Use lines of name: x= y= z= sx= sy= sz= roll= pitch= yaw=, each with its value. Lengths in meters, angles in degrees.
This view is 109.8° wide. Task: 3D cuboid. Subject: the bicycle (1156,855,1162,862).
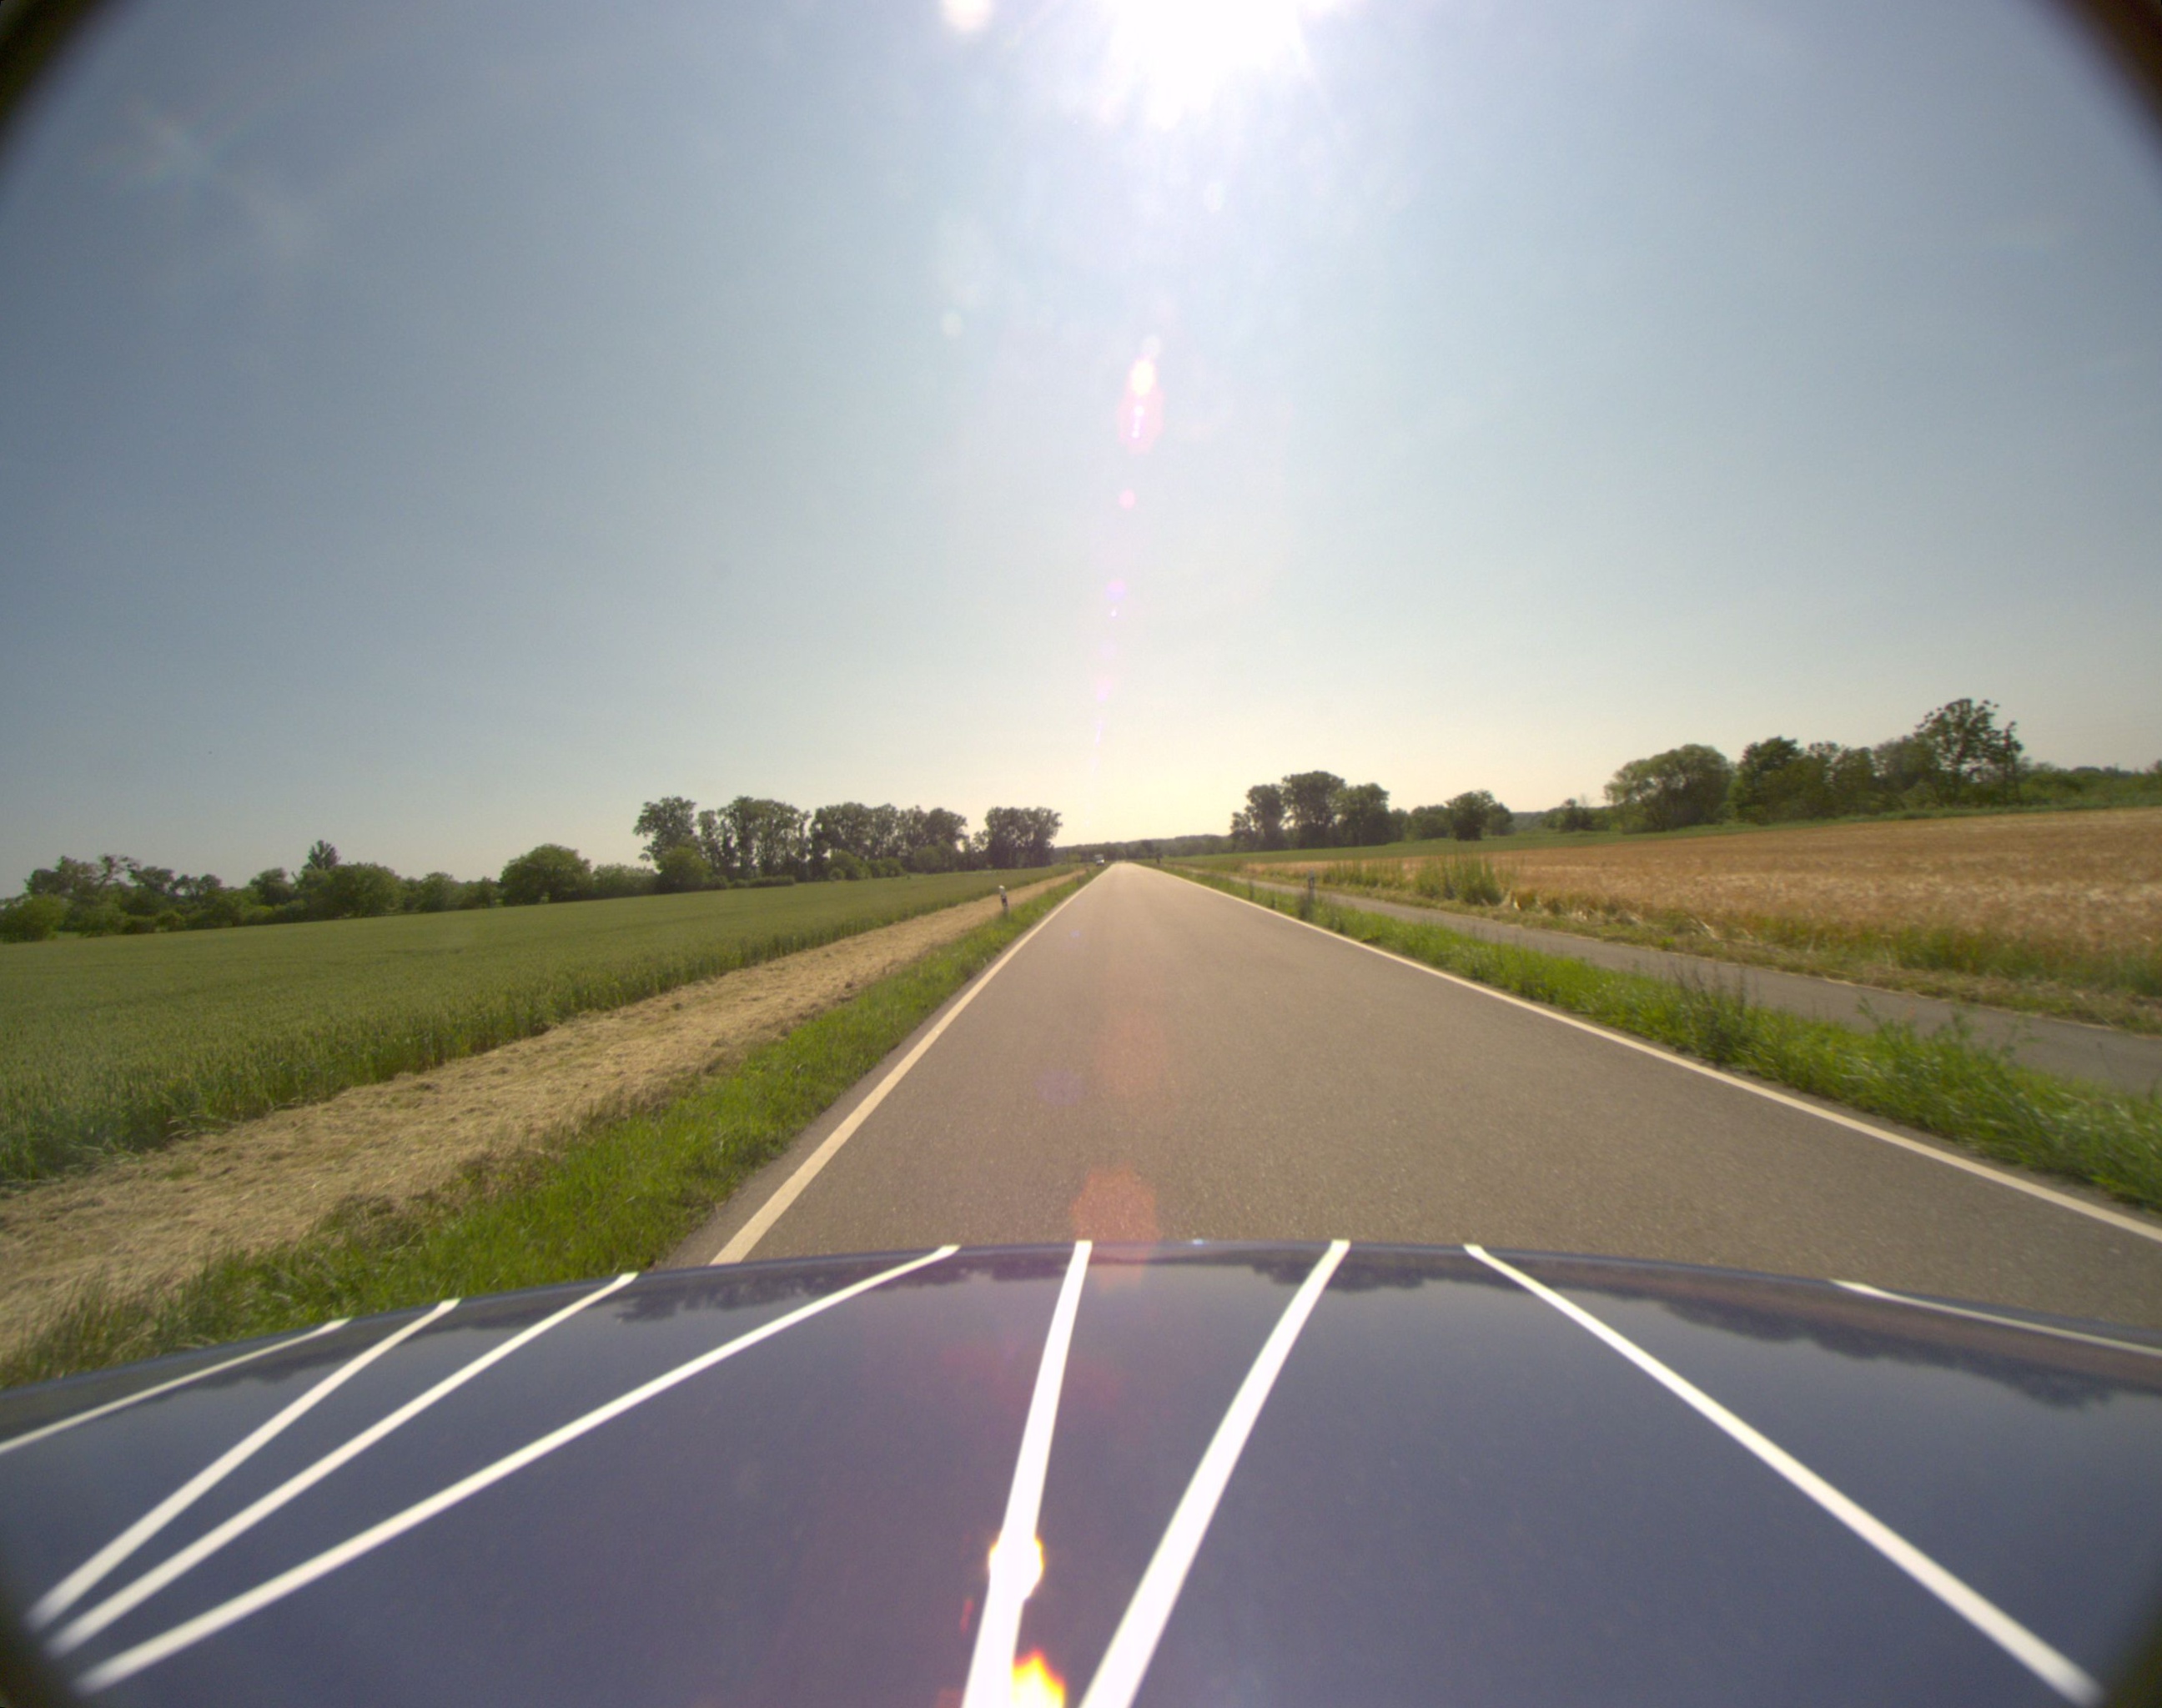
bicycle: x=14.067 y=0.807 z=137.090 sx=0.743 sy=1.165 sz=2.083 roll=-4 pitch=0 yaw=3

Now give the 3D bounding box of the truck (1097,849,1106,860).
truck: x=5.386 y=0.114 z=198.590 sx=1.998 sy=2.821 sz=5.219 roll=-4 pitch=0 yaw=3

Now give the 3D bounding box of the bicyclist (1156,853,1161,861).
bicyclist: x=14.036 y=0.499 z=137.089 sx=0.743 sy=1.487 sz=1.003 roll=-4 pitch=0 yaw=3
